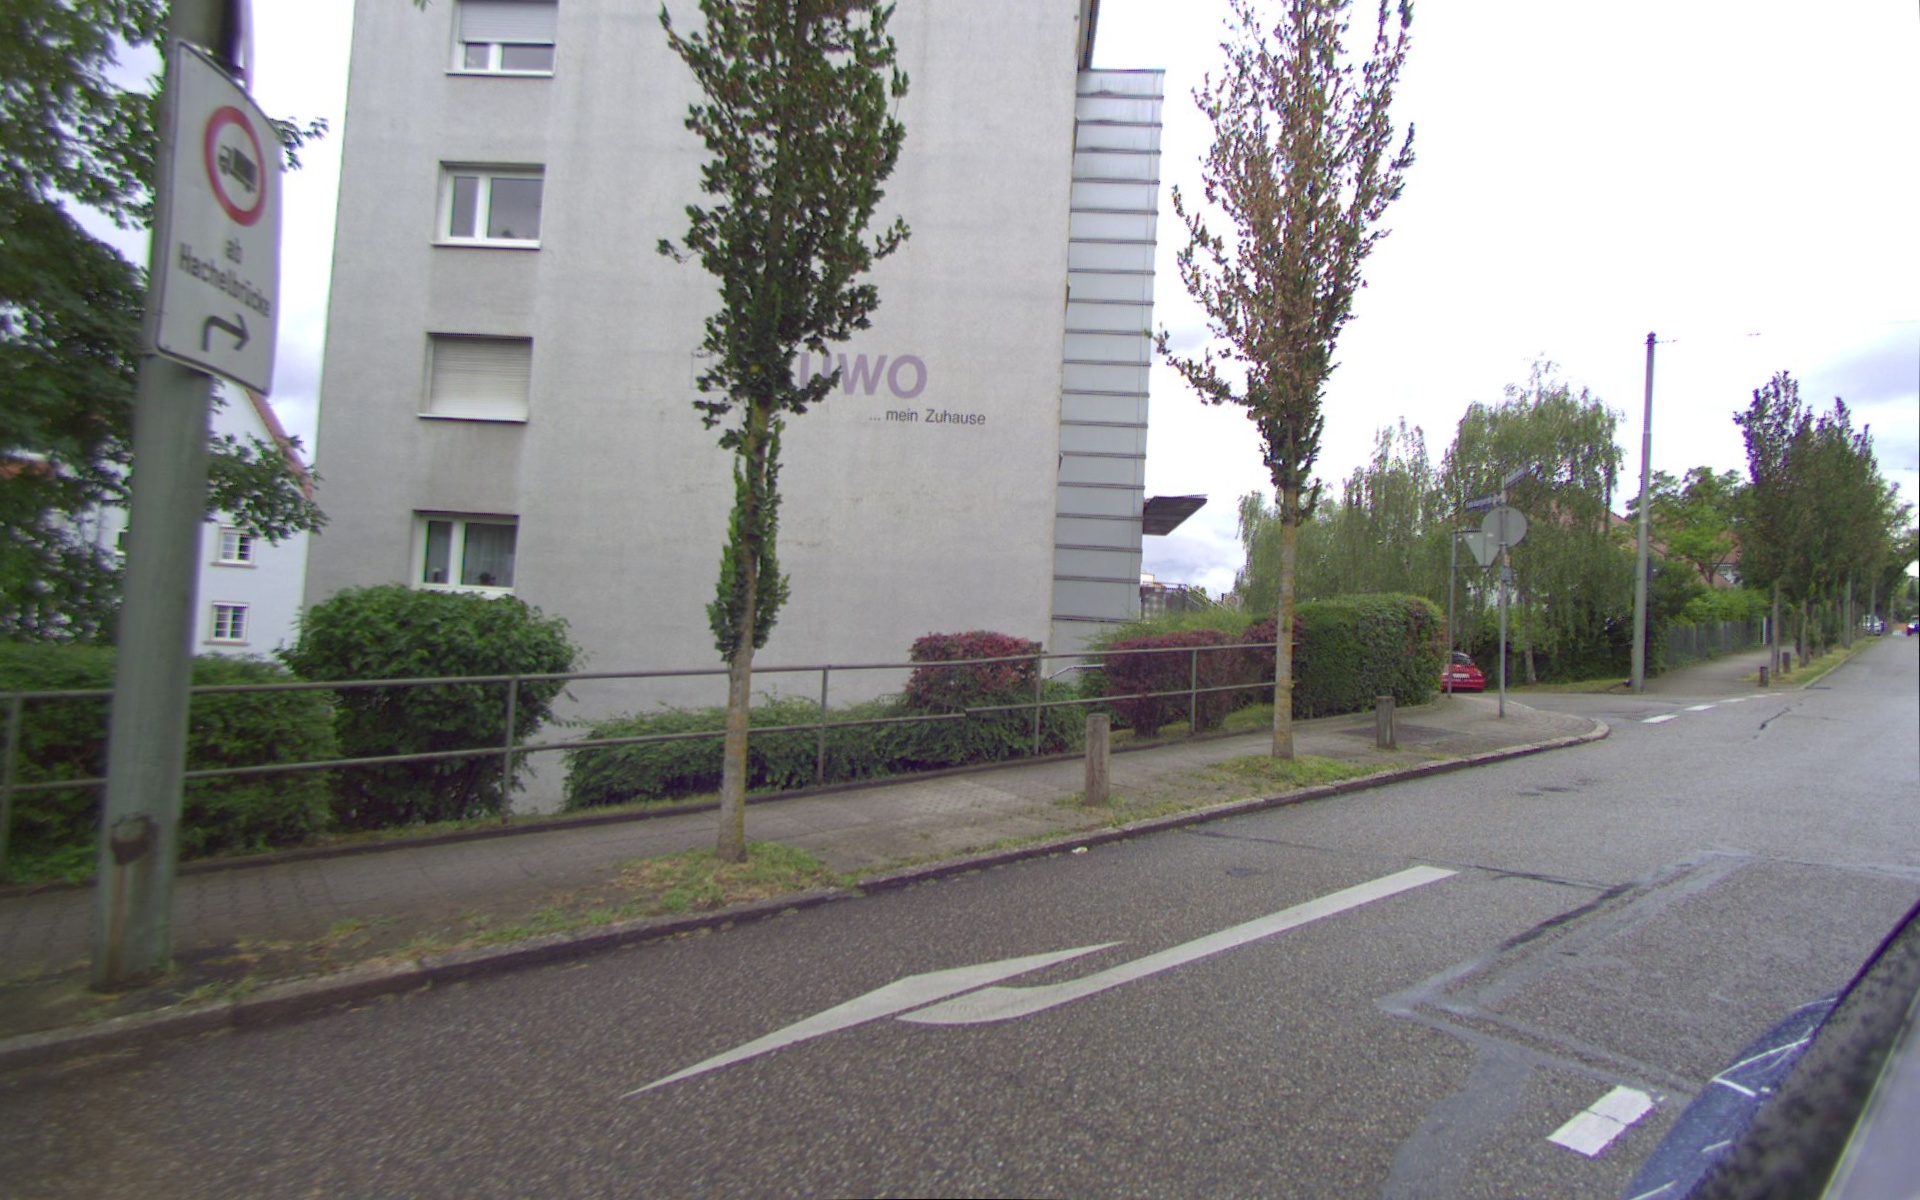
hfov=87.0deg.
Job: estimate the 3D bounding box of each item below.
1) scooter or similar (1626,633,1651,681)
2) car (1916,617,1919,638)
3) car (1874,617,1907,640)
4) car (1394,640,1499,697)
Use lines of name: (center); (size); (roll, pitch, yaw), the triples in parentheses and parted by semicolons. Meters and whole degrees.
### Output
scooter or similar: (18.680, 1.556, 27.861); (0.342, 1.270, 1.248); (-3, -2, 43)
car: (78.689, 2.225, 81.606); (3.932, 1.706, 1.995); (2, -4, -43)
car: (73.346, 2.214, 79.788); (1.824, 1.650, 3.938); (1, 0, 43)
car: (15.102, 2.190, 31.621); (1.615, 1.543, 3.563); (1, -7, 2)
